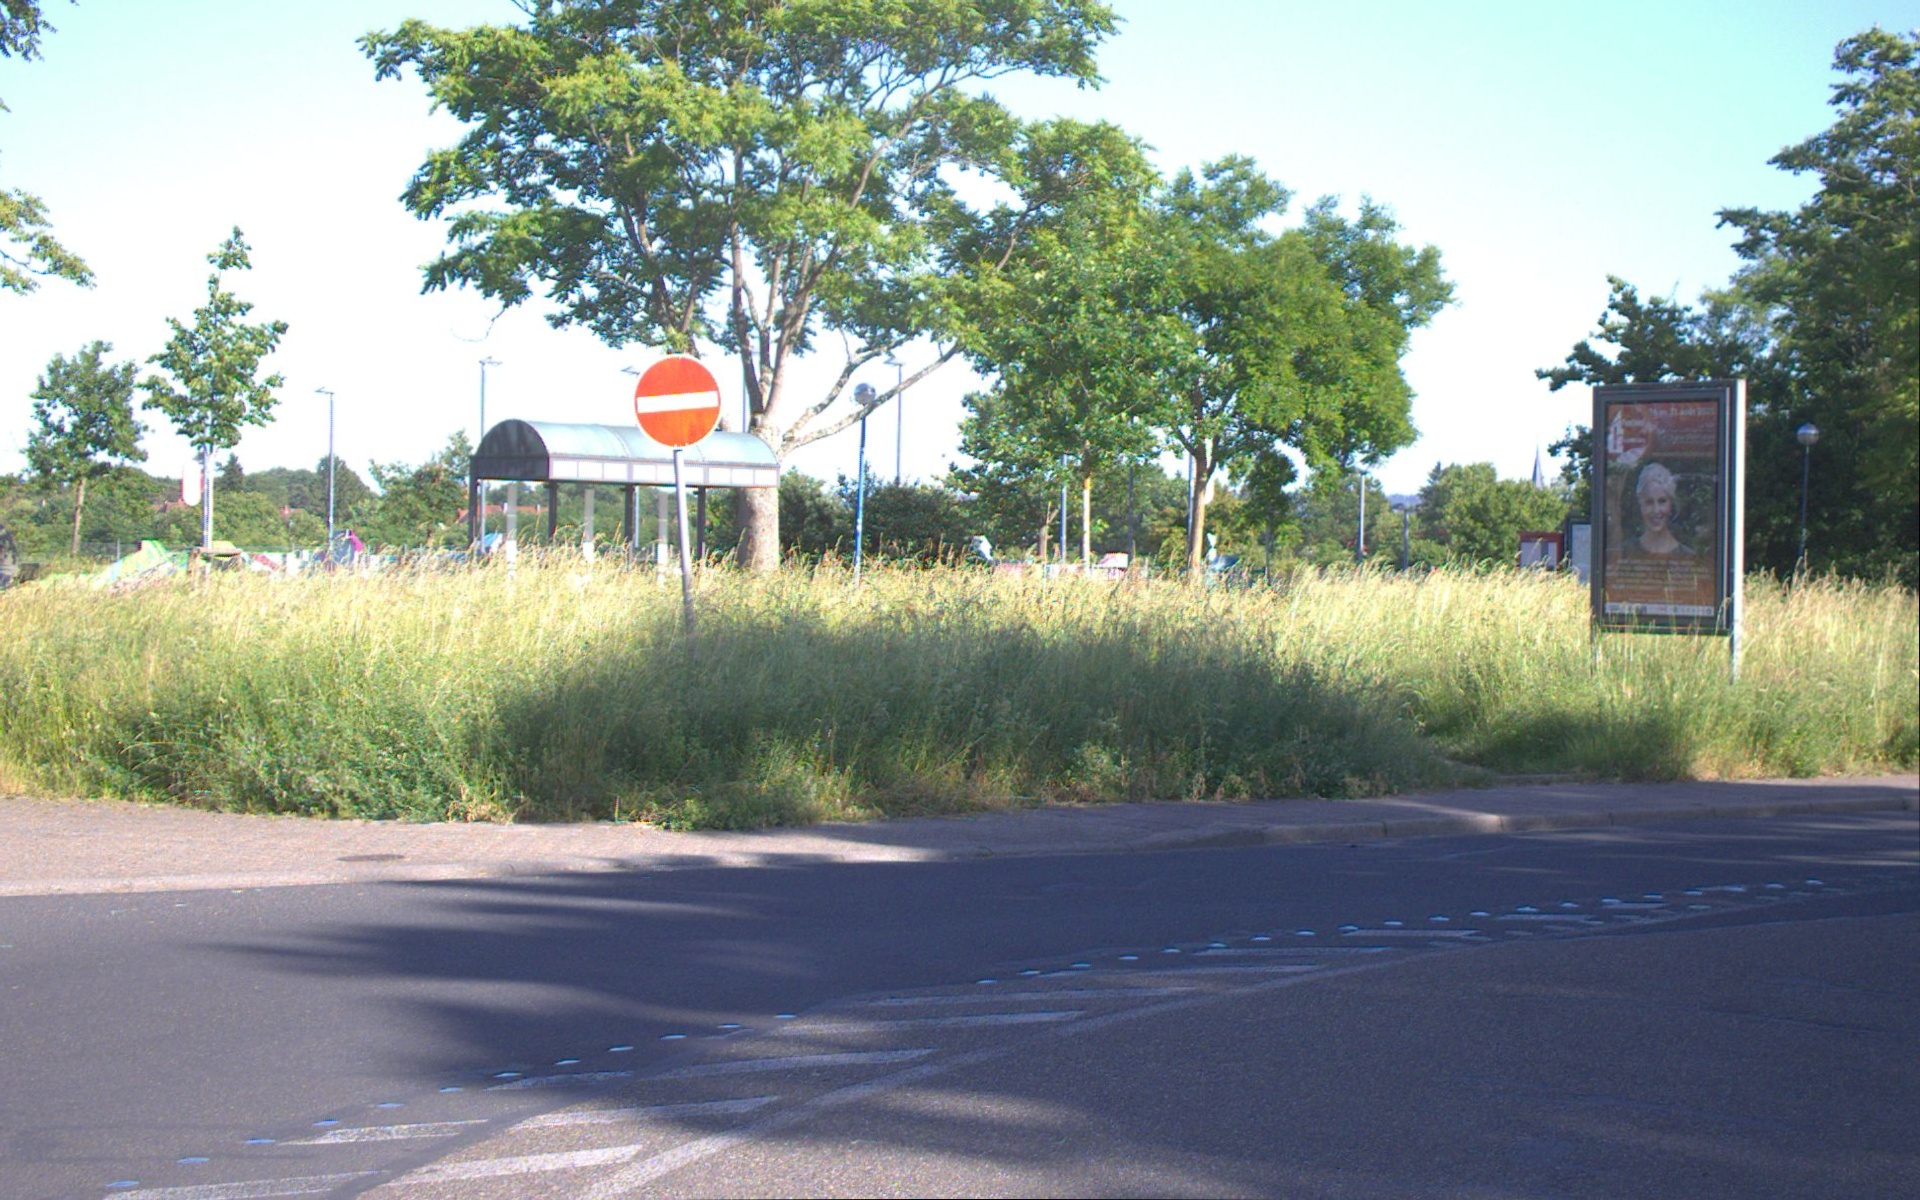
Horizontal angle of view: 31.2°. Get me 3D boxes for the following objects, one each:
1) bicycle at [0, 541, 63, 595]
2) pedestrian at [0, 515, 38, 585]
[{"bbox_3d":[-13.075,-0.448,46.773,0.654,0.702,1.572,2,1,43],"label":"bicycle"},{"bbox_3d":[-13.086,-0.685,46.745,0.703,0.937,0.798,2,1,43],"label":"pedestrian"}]
